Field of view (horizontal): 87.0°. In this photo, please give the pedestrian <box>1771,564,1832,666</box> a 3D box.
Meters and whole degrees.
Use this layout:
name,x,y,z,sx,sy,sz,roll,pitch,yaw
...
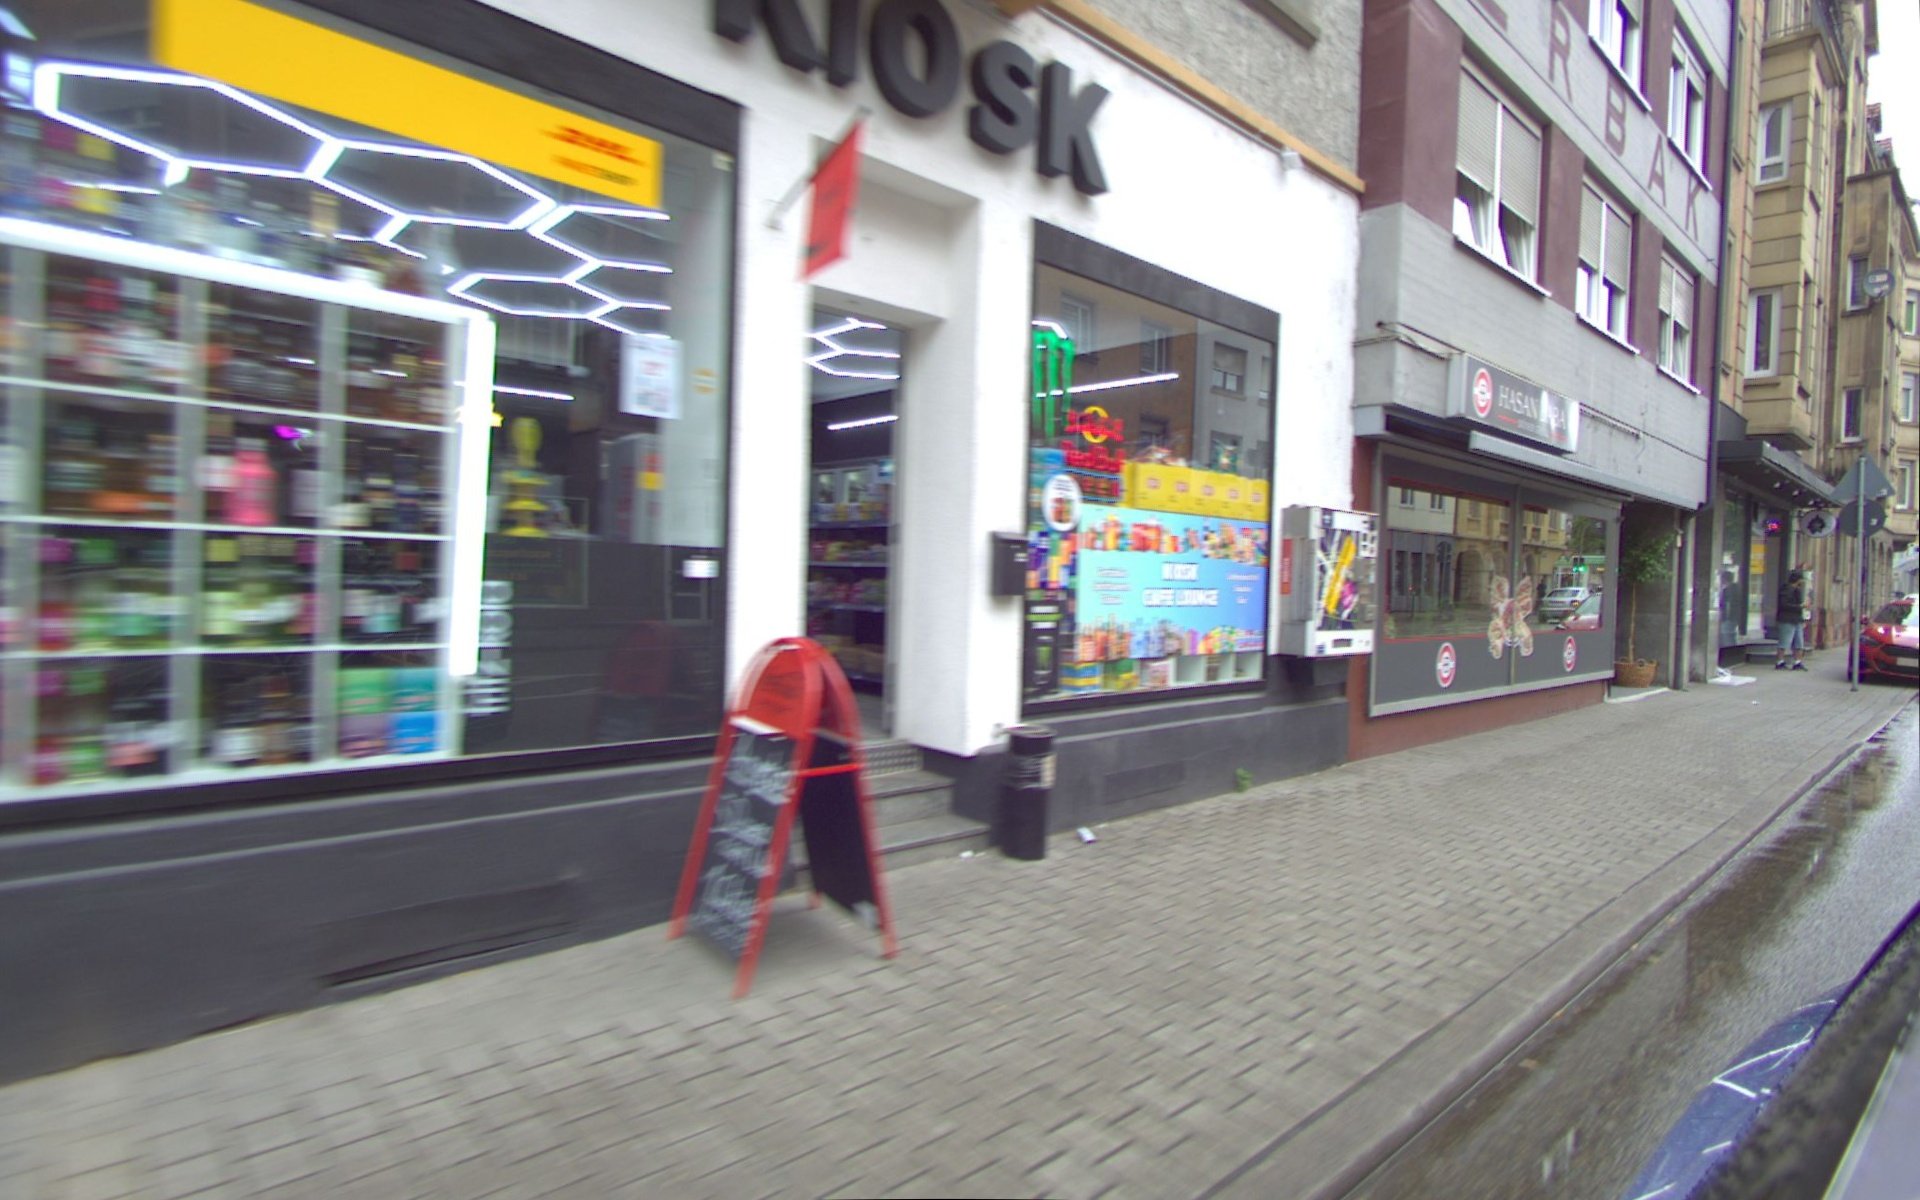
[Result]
name,x,y,z,sx,sy,sz,roll,pitch,yaw
pedestrian,15.436,0.252,18.564,0.744,1.801,0.783,3,3,45

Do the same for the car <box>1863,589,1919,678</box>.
name,x,y,z,sx,sy,sz,roll,pitch,yaw
car,16.863,0.550,17.309,4.242,1.386,1.746,0,2,-43

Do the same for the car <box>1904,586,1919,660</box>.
name,x,y,z,sx,sy,sz,roll,pitch,yaw
car,22.063,0.491,22.184,4.373,1.512,1.650,-1,3,-43
